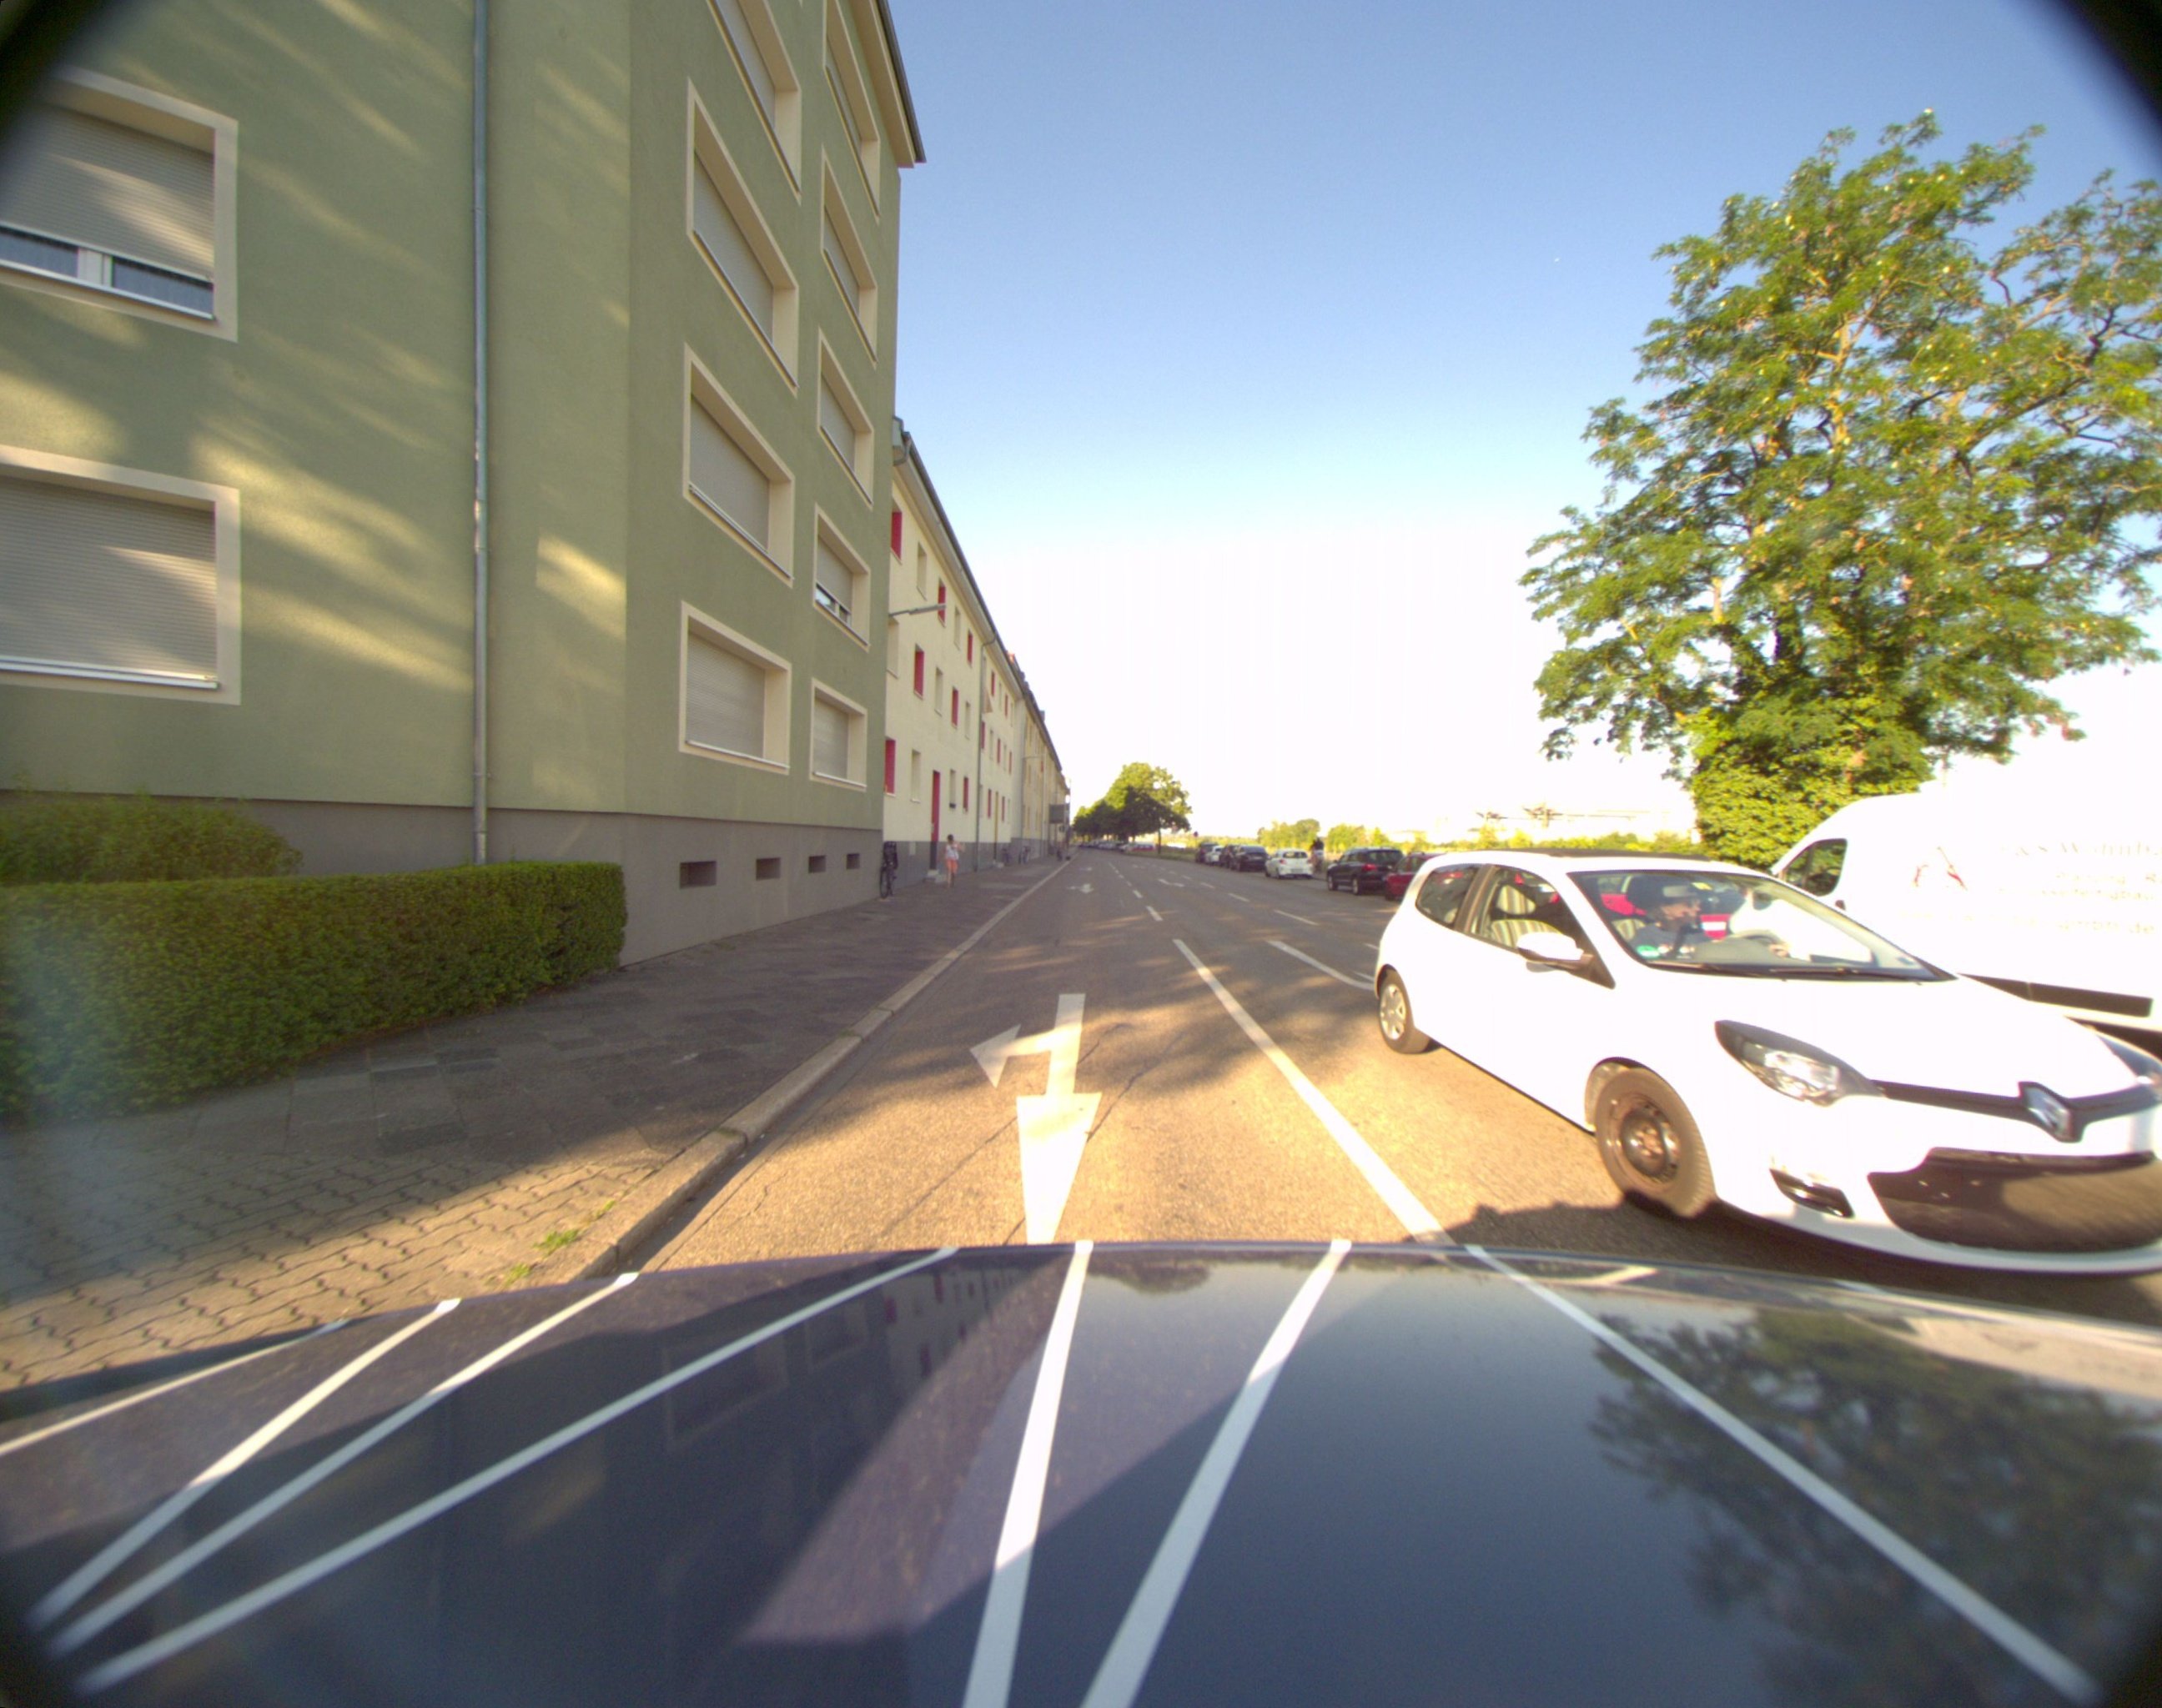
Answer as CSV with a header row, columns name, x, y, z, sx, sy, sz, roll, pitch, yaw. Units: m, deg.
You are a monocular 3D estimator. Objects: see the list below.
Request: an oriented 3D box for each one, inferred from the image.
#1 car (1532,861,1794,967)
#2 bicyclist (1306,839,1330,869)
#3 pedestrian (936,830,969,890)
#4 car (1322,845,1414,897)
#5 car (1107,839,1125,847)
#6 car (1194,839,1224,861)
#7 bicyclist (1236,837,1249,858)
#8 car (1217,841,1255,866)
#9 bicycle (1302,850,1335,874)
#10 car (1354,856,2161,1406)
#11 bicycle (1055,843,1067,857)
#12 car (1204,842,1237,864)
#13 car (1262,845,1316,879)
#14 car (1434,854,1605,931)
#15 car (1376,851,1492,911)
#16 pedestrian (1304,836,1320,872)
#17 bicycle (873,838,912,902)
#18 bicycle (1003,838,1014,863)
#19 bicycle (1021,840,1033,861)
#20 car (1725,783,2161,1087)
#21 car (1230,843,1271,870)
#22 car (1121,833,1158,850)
name,x,y,z,sx,sy,sz,roll,pitch,yaw
car,10.025,0.940,13.508,1.745,1.478,3.693,1,1,0
bicyclist,12.799,-0.021,41.051,0.866,1.588,1.145,1,2,-1
pedestrian,-3.745,0.173,22.227,0.787,1.697,0.949,1,2,0
car,10.017,0.535,26.808,1.664,1.650,4.004,1,1,0
car,8.161,-2.591,175.562,3.997,1.708,1.999,1,1,-1
car,10.654,-0.375,63.430,1.891,1.766,4.219,1,1,2
bicyclist,12.633,-0.488,59.347,0.768,1.588,1.146,1,2,2
car,10.568,-0.068,52.156,1.823,1.628,4.219,1,1,2
bicycle,12.813,0.396,41.053,0.940,1.182,2.481,1,1,-2
car,3.027,0.804,4.031,1.705,1.460,3.774,1,1,-1
bicycle,-1.571,-0.312,59.217,0.651,1.091,2.200,1,1,-8
car,10.542,-0.114,57.548,1.823,1.565,4.219,1,1,2
car,10.221,0.364,37.527,1.706,1.517,3.582,1,1,1
car,10.100,0.809,17.875,1.745,1.521,3.815,1,1,0
car,10.167,0.709,22.191,1.664,1.521,3.578,1,1,0
pedestrian,13.070,-0.030,43.012,0.615,2.002,0.730,1,2,-2
bicycle,-4.381,0.328,17.740,0.517,1.404,1.872,1,1,-3
bicycle,-4.163,-0.209,43.737,0.517,1.404,1.872,1,1,-3
bicycle,-3.422,-0.226,48.673,0.517,1.318,2.210,1,1,2
car,9.681,0.592,7.279,2.235,2.423,5.558,-1,1,-1
car,10.327,0.138,46.458,1.823,1.517,4.290,2,1,4
car,8.858,-1.866,114.657,5.322,2.398,2.265,-2,2,0
